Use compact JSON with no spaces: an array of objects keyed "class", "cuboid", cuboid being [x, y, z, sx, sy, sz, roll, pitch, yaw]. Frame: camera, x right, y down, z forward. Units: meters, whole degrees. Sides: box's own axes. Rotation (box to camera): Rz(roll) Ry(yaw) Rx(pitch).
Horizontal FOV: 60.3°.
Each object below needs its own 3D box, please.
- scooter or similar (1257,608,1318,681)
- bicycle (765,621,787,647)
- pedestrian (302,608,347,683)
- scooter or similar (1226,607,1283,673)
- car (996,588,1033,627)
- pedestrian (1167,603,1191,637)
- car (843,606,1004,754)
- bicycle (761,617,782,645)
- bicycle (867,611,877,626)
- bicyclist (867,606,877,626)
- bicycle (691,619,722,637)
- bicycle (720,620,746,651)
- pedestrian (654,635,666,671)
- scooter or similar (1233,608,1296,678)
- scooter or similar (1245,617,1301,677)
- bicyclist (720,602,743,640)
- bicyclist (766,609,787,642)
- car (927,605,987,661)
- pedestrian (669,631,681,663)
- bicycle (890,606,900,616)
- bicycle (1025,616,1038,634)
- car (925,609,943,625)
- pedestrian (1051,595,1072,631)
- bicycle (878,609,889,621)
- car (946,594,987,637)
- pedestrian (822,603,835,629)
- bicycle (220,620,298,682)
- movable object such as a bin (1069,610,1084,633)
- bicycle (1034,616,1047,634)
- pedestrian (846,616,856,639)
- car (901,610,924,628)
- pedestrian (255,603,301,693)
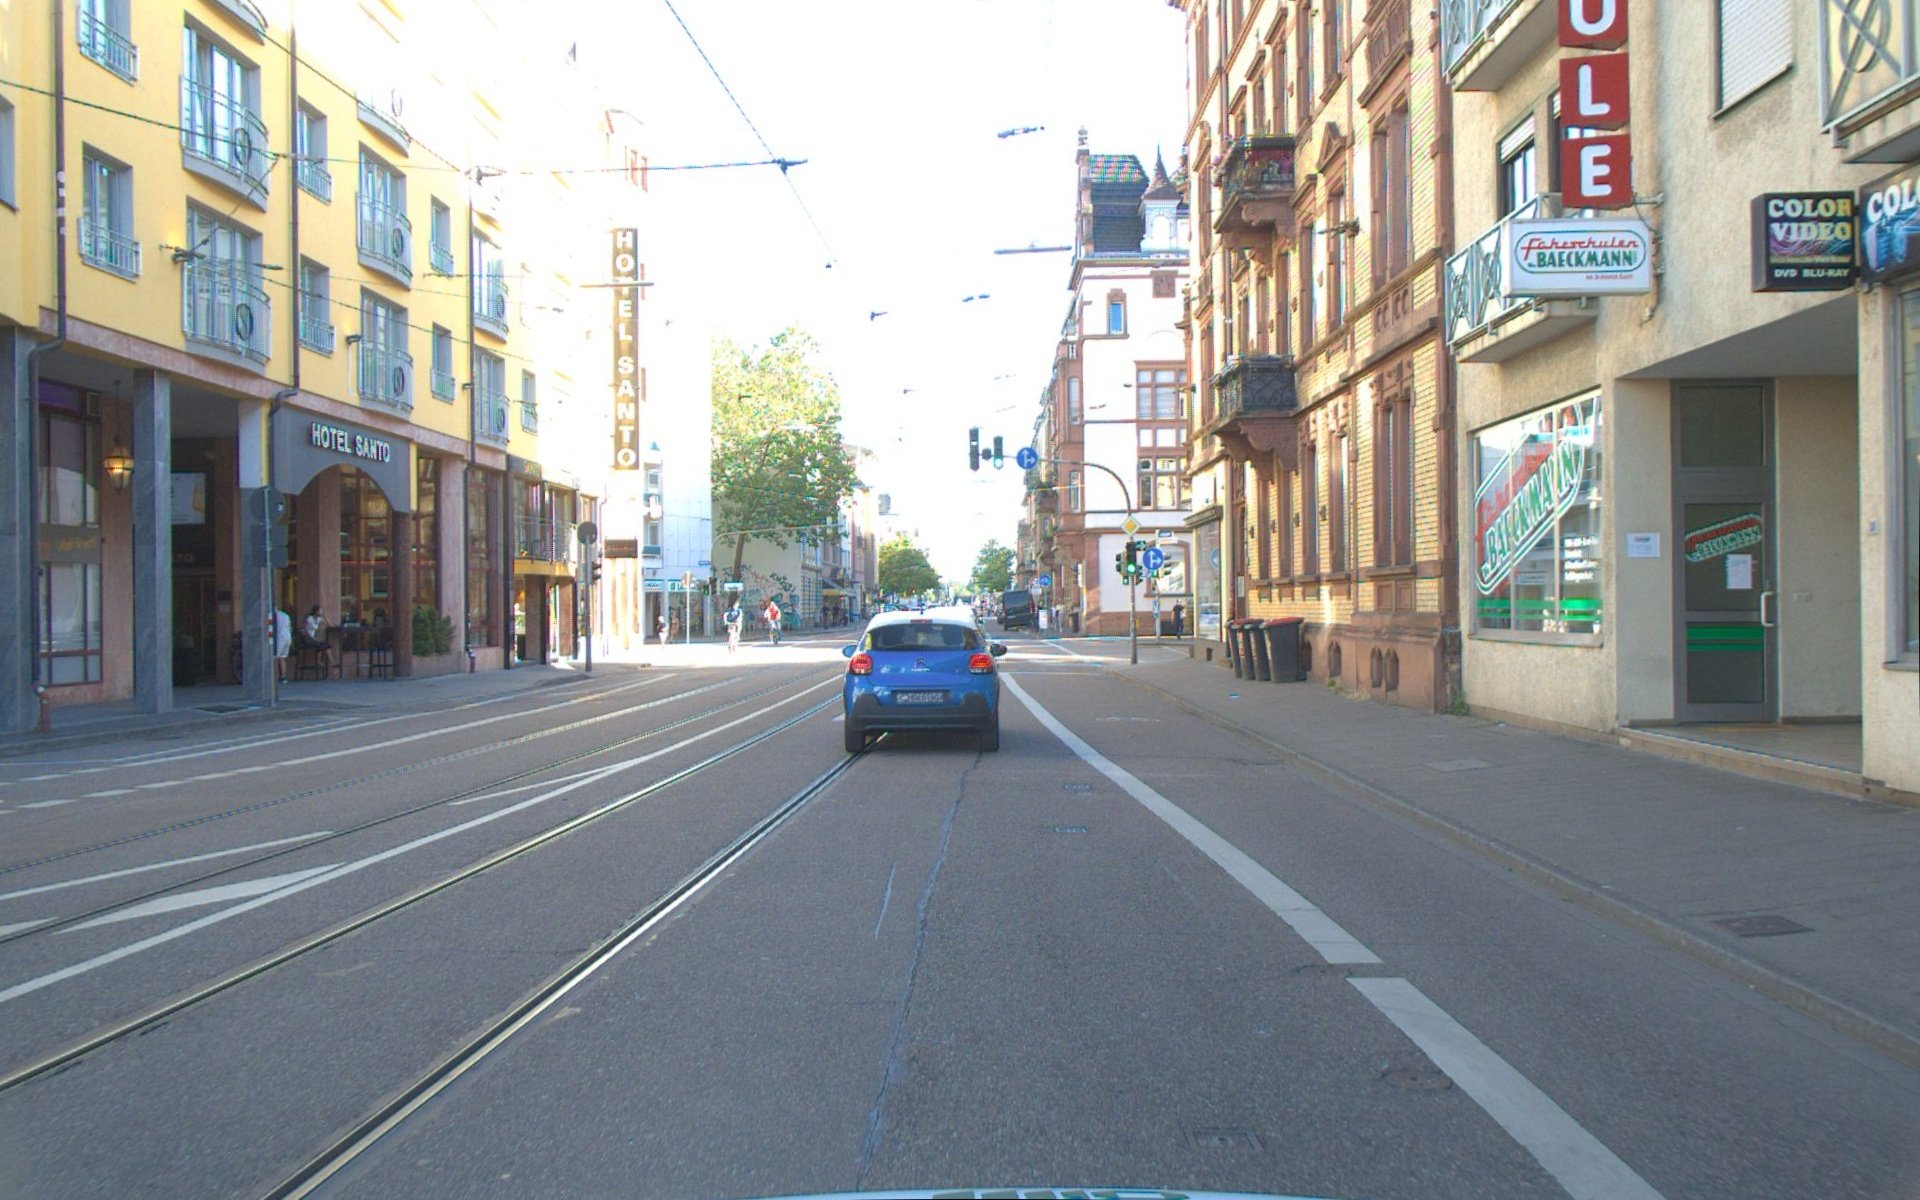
[{"class":"scooter or similar","cuboid":[5.627,0.760,28.446,0.774,1.168,0.790,-5,0,-1]},{"class":"bicycle","cuboid":[-7.923,1.464,71.292,0.716,1.084,2.061,-1,0,-1]},{"class":"pedestrian","cuboid":[-13.582,0.970,35.344,0.690,1.574,0.601,-1,-1,5]},{"class":"scooter or similar","cuboid":[5.540,0.749,31.148,0.879,1.168,0.547,-5,0,-2]},{"class":"car","cuboid":[3.633,0.510,111.127,2.225,2.479,5.719,-1,0,0]},{"class":"pedestrian","cuboid":[9.461,0.858,71.559,0.918,1.482,0.823,-1,-1,15]},{"class":"car","cuboid":[-0.391,0.830,19.029,1.640,1.503,3.999,-1,0,0]},{"class":"bicycle","cuboid":[-8.425,1.378,73.993,0.716,1.204,2.061,-1,0,-1]},{"class":"bicycle","cuboid":[-6.845,1.403,128.630,0.678,1.140,2.083,-1,0,-1]},{"class":"bicyclist","cuboid":[-6.849,1.247,128.477,0.668,1.509,0.778,-1,0,-1]},{"class":"bicycle","cuboid":[-15.870,1.754,103.446,1.878,1.053,0.664,-1,-1,27]},{"class":"bicycle","cuboid":[-8.446,1.320,61.515,0.716,1.107,2.061,-1,0,-1]},{"class":"pedestrian","cuboid":[-12.149,2.149,66.908,0.395,1.435,0.516,0,-1,-1]},{"class":"scooter or similar","cuboid":[5.547,0.774,30.140,0.914,1.168,0.650,-5,0,-2]},{"class":"scooter or similar","cuboid":[5.550,0.830,29.346,0.774,0.974,0.680,-5,0,-1]},{"class":"bicyclist","cuboid":[-8.447,0.767,61.229,0.709,1.405,1.227,-1,0,-1]},{"class":"bicyclist","cuboid":[-7.903,1.102,71.236,0.720,1.405,1.468,-1,-1,-1]},{"class":"car","cuboid":[-0.107,0.932,47.629,1.633,1.504,3.999,-1,0,-1]},{"class":"pedestrian","cuboid":[-14.003,2.312,81.260,0.531,1.579,0.516,-1,-1,-1]},{"class":"bicycle","cuboid":[-7.952,1.361,202.795,1.099,1.166,3.640,-1,0,-5]},{"class":"bicycle","cuboid":[3.935,1.389,90.888,0.423,0.964,1.761,-1,0,-7]},{"class":"car","cuboid":[-2.981,1.993,189.758,1.953,1.774,4.562,-1,0,-1]},{"class":"pedestrian","cuboid":[5.443,0.692,88.376,0.693,1.809,0.672,-13,0,-1]},{"class":"bicycle","cuboid":[-9.388,1.853,202.960,1.099,1.342,3.640,-1,0,-5]},{"class":"car","cuboid":[0.301,0.776,82.505,1.953,2.049,3.999,-1,0,-1]},{"class":"pedestrian","cuboid":[-9.238,1.116,116.495,0.668,1.796,1.026,-1,0,11]},{"class":"bicycle","cuboid":[-14.500,1.040,34.284,0.569,1.224,2.082,-1,0,5]},{"class":"movable object such as a bin","cuboid":[5.999,1.125,85.159,0.652,1.174,0.594,-1,-1,-2]},{"class":"bicycle","cuboid":[4.433,1.390,90.932,0.423,0.964,1.761,-1,0,-7]},{"class":"pedestrian","cuboid":[-8.486,2.119,128.731,0.696,1.795,0.570,-1,-1,-1]},{"class":"car","cuboid":[-4.320,1.719,150.903,1.945,1.528,4.308,-1,0,-1]},{"class":"pedestrian","cuboid":[-13.920,0.973,33.764,0.549,1.801,0.723,1,-1,5]}]
